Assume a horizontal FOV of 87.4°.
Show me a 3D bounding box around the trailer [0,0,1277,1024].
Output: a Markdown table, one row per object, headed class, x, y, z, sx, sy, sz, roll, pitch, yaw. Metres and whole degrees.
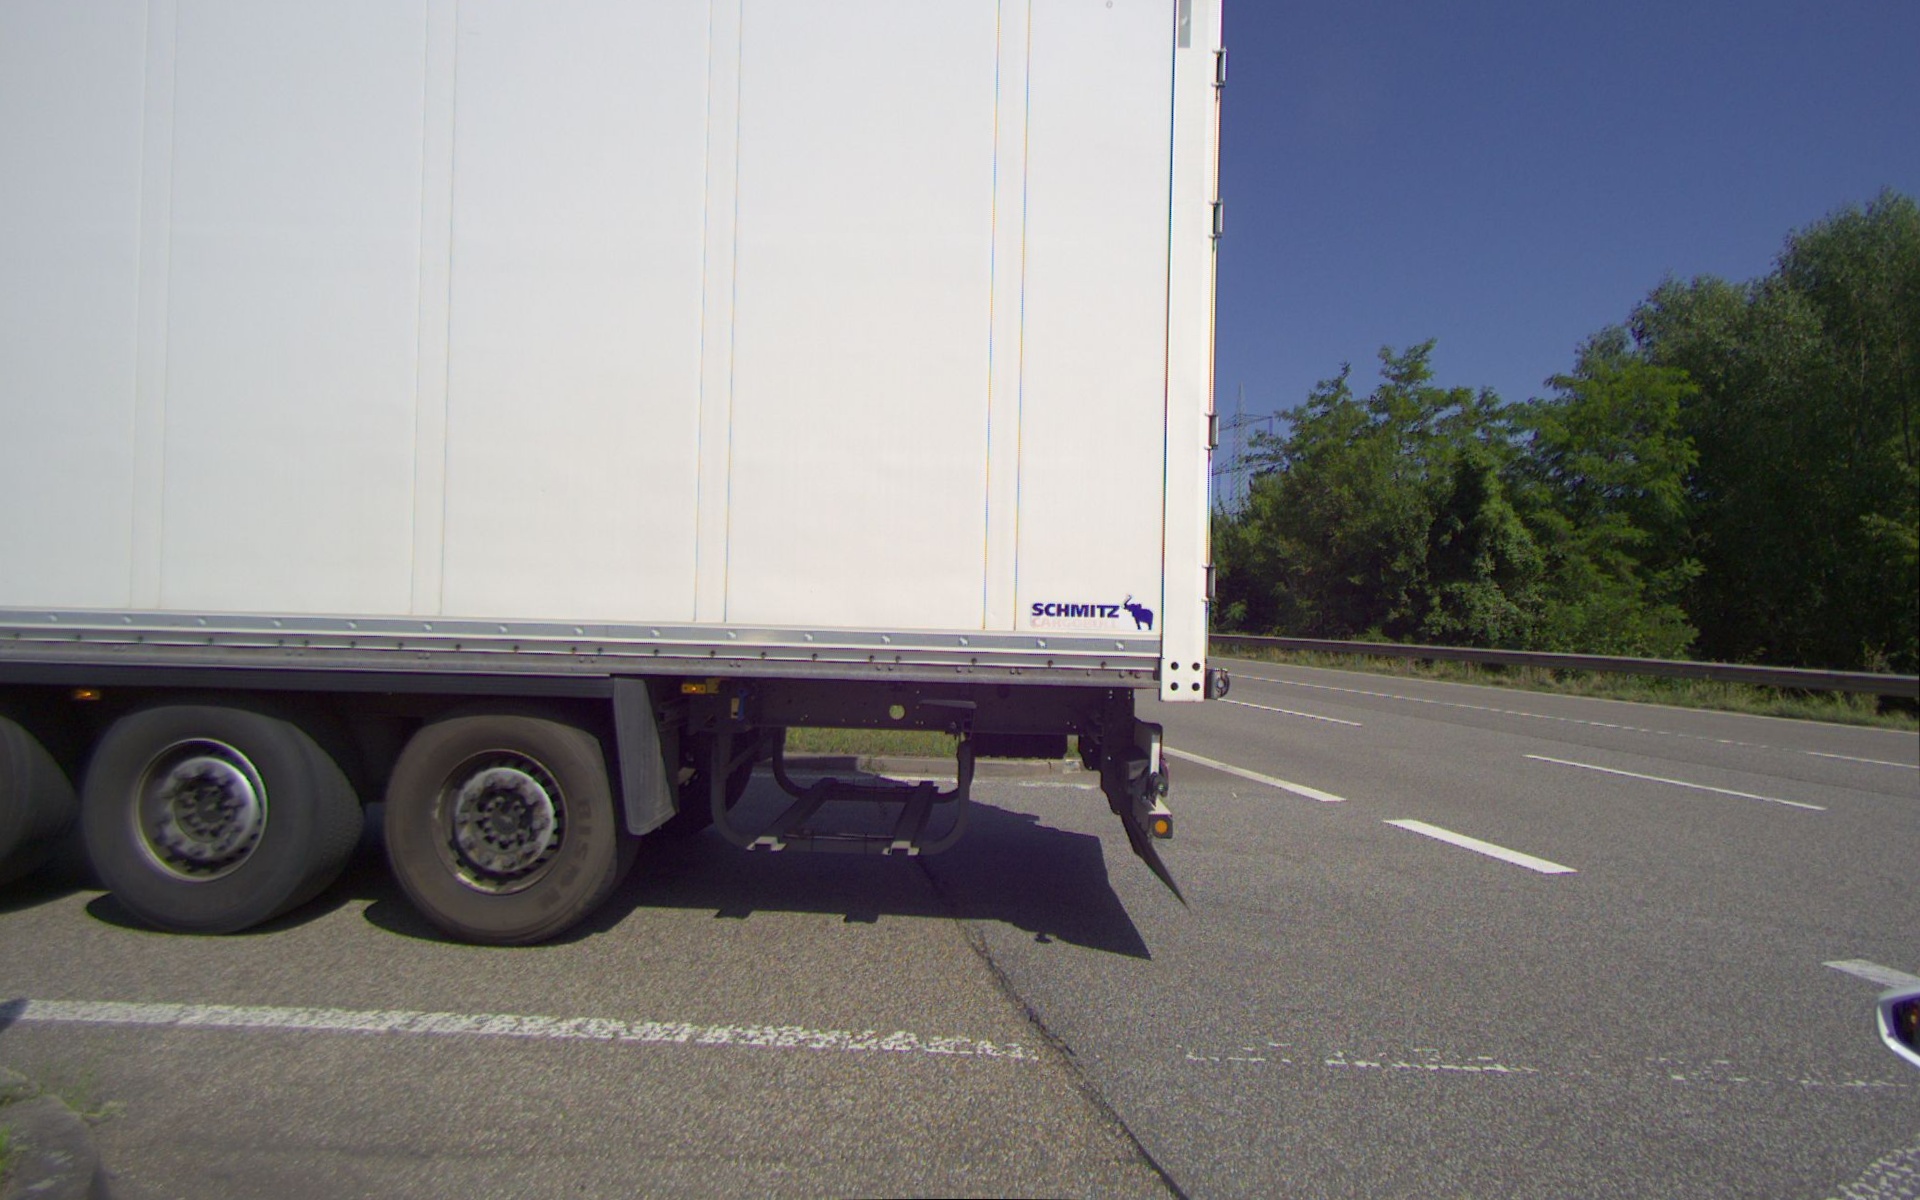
| class | x | y | z | sx | sy | sz | roll | pitch | yaw |
| --- | --- | --- | --- | --- | --- | --- | --- | --- | --- |
| trailer | -5.616 | -0.690 | 5.549 | 13.700 | 4.221 | 2.897 | 1 | 0 | 3 |
